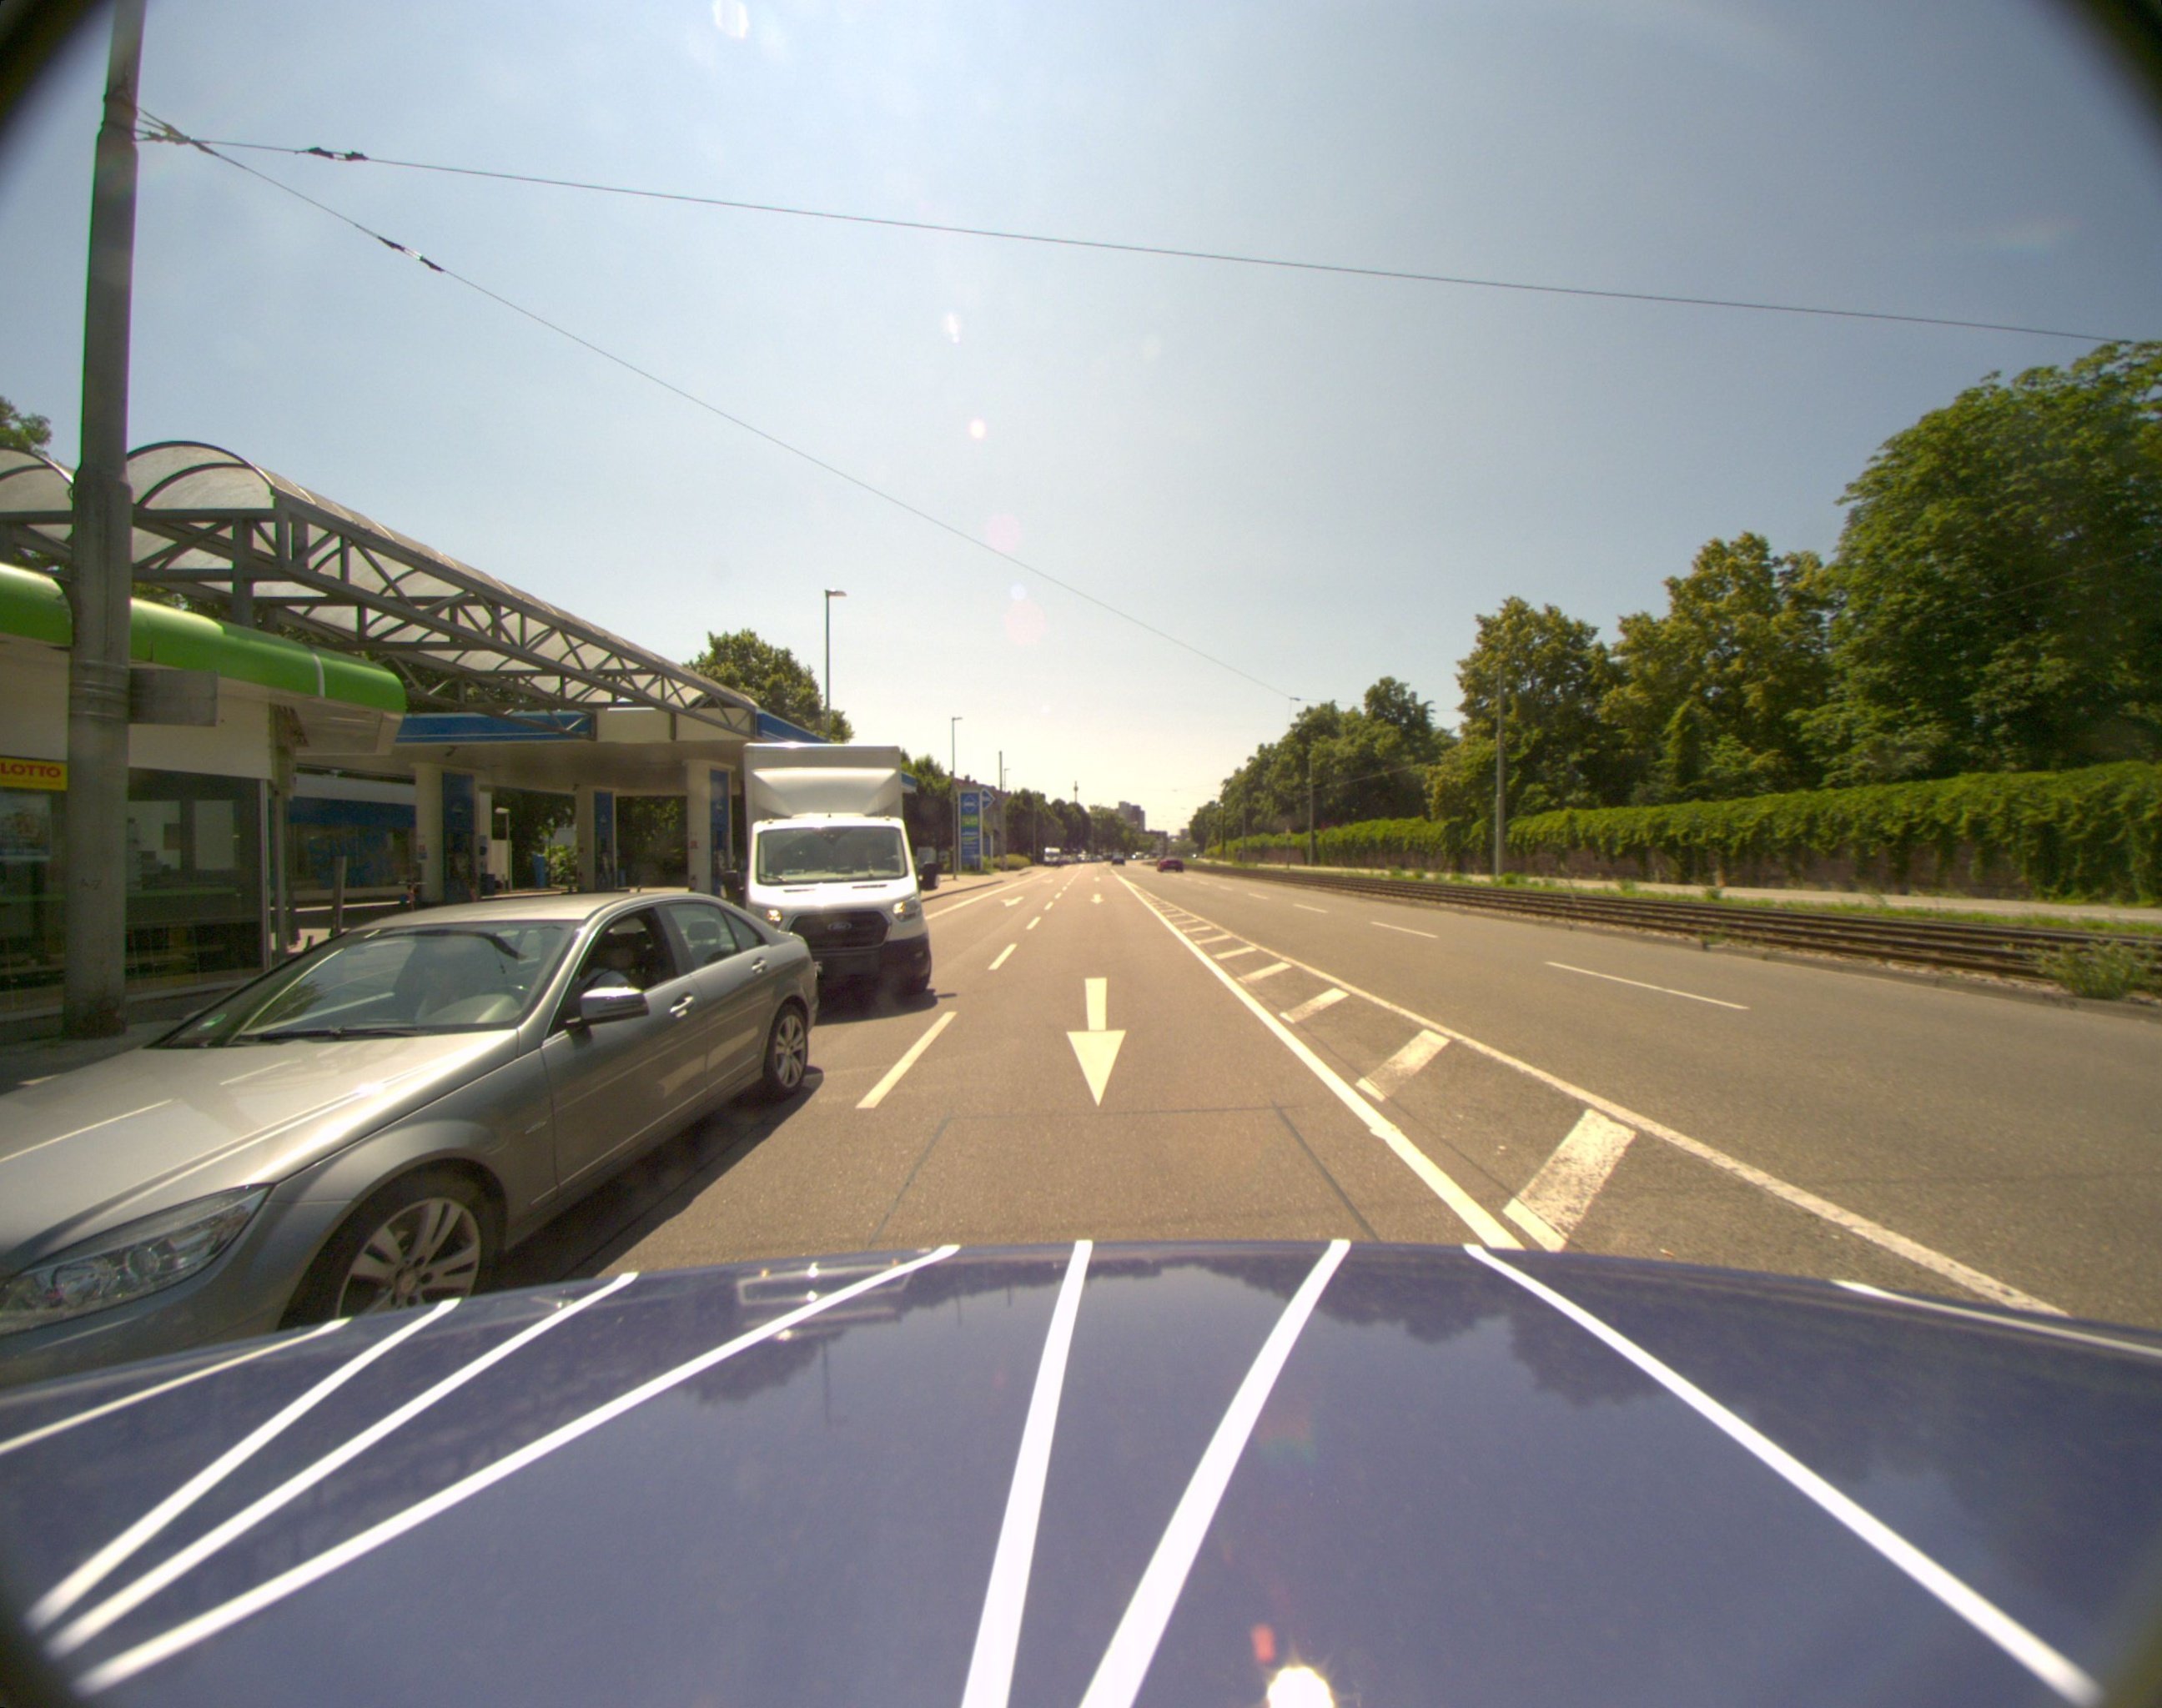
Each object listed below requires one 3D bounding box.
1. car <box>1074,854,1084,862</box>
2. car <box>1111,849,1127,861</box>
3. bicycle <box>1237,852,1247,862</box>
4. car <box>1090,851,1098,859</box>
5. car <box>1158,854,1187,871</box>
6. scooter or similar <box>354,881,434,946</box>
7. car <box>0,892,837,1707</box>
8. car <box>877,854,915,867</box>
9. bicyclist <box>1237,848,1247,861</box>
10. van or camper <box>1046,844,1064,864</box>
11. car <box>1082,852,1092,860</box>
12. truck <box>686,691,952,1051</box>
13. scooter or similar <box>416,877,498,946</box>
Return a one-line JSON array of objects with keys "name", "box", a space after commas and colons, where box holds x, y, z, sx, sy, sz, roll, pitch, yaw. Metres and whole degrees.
[{"name": "car", "box": [-0.414, 0.785, 150.297, 1.725, 1.586, 4.001, -1, 0, 4]}, {"name": "car", "box": [5.215, 0.113, 105.156, 1.998, 1.608, 4.000, -1, 0, 1]}, {"name": "bicycle", "box": [18.948, 0.297, 89.424, 0.830, 1.149, 2.686, -1, 0, 6]}, {"name": "car", "box": [2.943, 0.214, 170.273, 1.806, 1.585, 4.000, -1, 0, 2]}, {"name": "car", "box": [7.599, 0.661, 63.561, 1.989, 1.350, 4.538, -1, 0, 2]}, {"name": "scooter or similar", "box": [-12.846, 1.099, 14.218, 1.138, 1.170, 0.384, -1, 1, 2]}, {"name": "car", "box": [-2.862, 1.041, 3.643, 1.800, 1.441, 4.418, -1, 0, 2]}, {"name": "car", "box": [-23.347, 0.859, 96.012, 4.221, 1.512, 2.001, -1, 0, 9]}, {"name": "bicyclist", "box": [18.943, 0.039, 89.428, 0.997, 1.477, 1.000, -1, 1, 5]}, {"name": "van or camper", "box": [-3.479, -0.005, 101.523, 2.126, 2.469, 5.993, 2, 0, 0]}, {"name": "car", "box": [1.332, 0.456, 162.173, 1.907, 1.707, 4.000, -1, 0, 2]}, {"name": "truck", "box": [-3.786, 0.149, 11.222, 2.429, 3.372, 7.820, -1, 0, -19]}, {"name": "scooter or similar", "box": [-11.652, 1.070, 14.203, 1.176, 1.233, 0.412, -1, 1, 2]}]
